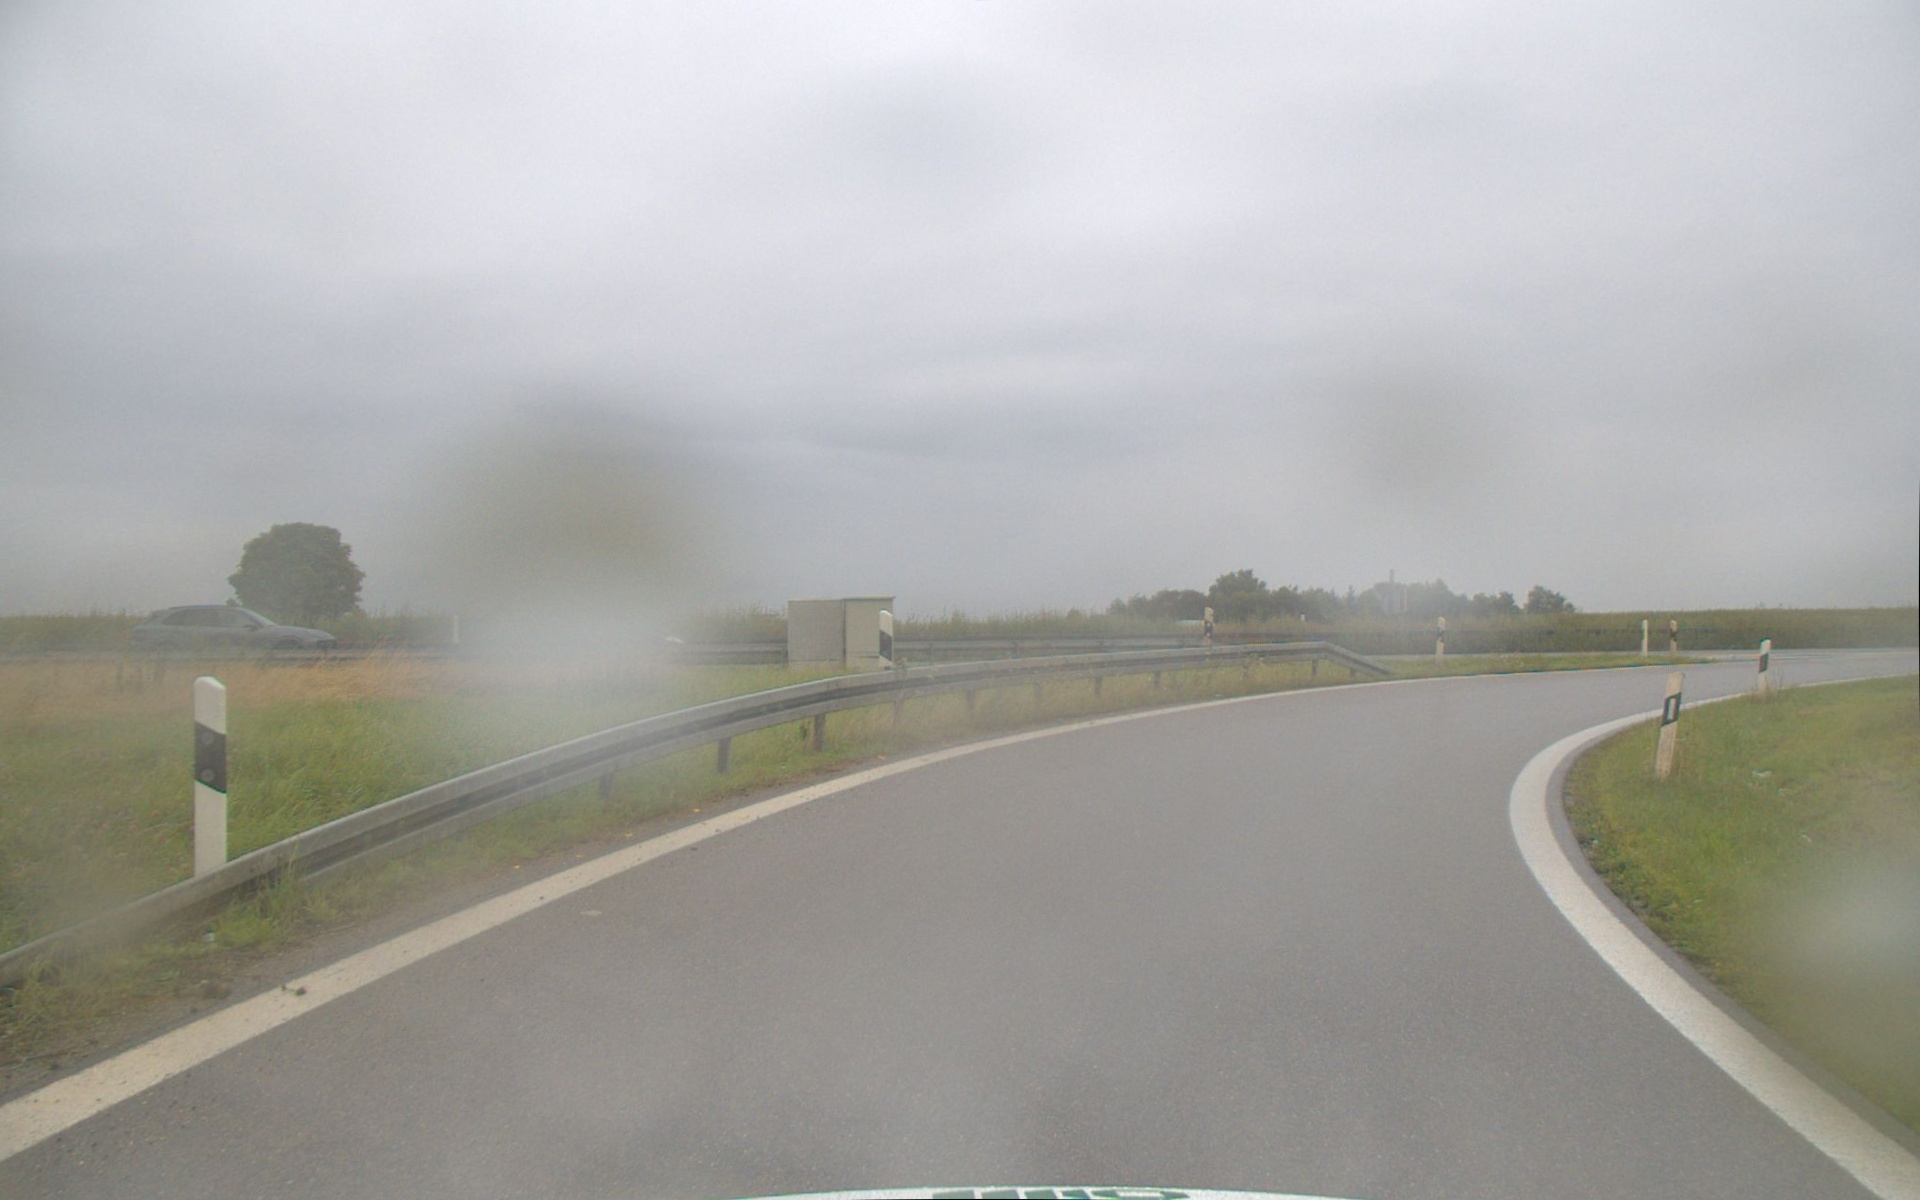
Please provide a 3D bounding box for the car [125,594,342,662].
[{"bbox_3d":[-18.439,0.704,42.203,4.697,1.665,2.054,0,-1,-12],"label":"car"}]

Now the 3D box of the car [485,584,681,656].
[{"bbox_3d":[-9.060,0.483,40.044,4.499,1.665,2.146,0,0,-12],"label":"car"}]
